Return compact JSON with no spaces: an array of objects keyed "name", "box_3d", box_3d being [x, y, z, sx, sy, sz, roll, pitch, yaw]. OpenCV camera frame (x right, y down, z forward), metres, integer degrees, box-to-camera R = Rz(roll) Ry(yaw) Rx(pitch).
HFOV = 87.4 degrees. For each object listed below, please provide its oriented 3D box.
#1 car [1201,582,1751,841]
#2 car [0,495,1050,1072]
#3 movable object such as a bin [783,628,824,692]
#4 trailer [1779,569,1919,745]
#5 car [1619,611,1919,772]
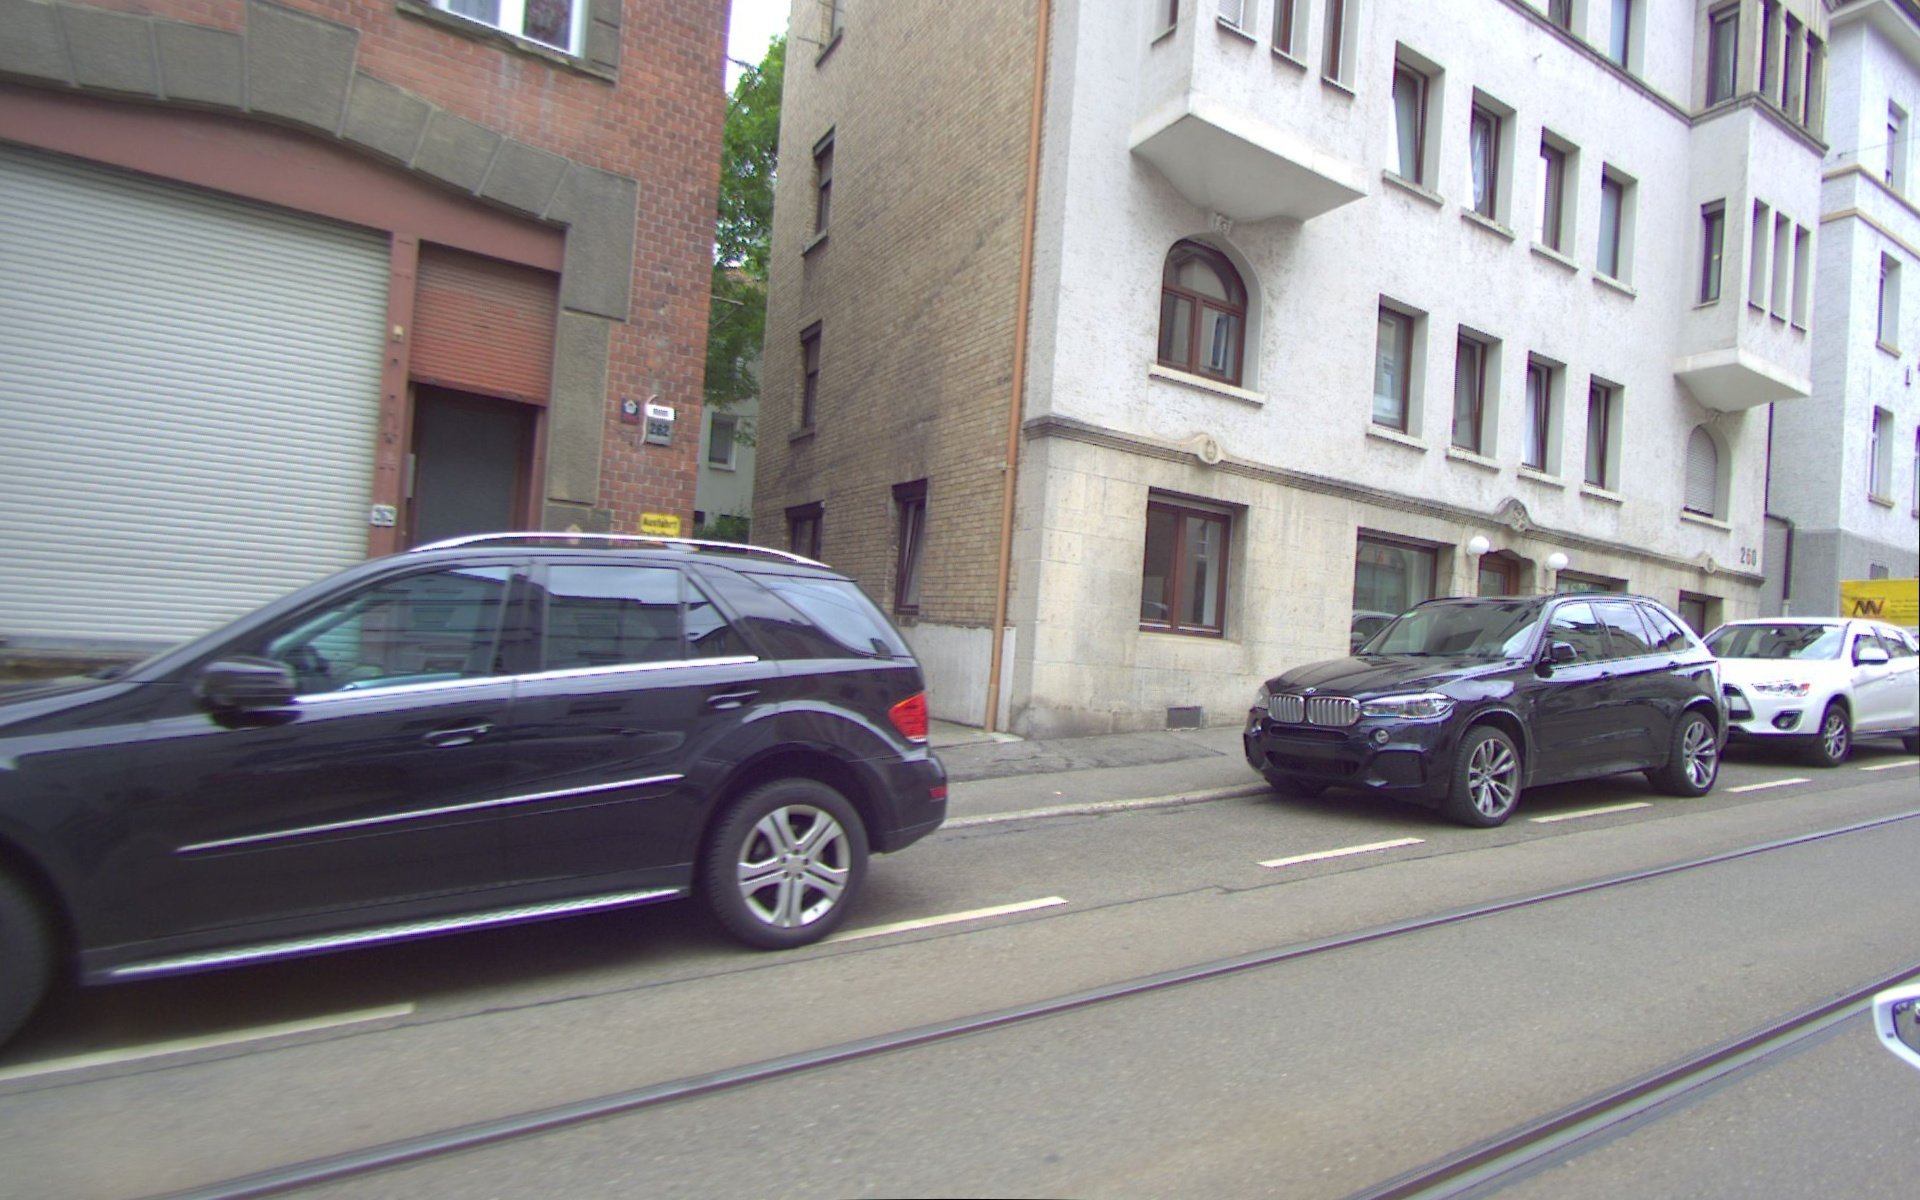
[{"name":"car","box_3d":[4.518,0.800,8.601,4.833,1.686,1.865,1,-2,-30]},{"name":"car","box_3d":[-2.098,0.605,4.557,4.854,1.741,1.819,1,-2,-30]},{"name":"movable object such as a bin","box_3d":[-2.321,0.885,14.869,0.459,0.916,0.424,2,0,-30]},{"name":"trailer","box_3d":[13.398,0.759,13.986,4.022,2.184,1.741,1,-2,-30]},{"name":"car","box_3d":[9.840,0.980,11.892,4.217,1.614,1.689,1,-2,-30]}]
